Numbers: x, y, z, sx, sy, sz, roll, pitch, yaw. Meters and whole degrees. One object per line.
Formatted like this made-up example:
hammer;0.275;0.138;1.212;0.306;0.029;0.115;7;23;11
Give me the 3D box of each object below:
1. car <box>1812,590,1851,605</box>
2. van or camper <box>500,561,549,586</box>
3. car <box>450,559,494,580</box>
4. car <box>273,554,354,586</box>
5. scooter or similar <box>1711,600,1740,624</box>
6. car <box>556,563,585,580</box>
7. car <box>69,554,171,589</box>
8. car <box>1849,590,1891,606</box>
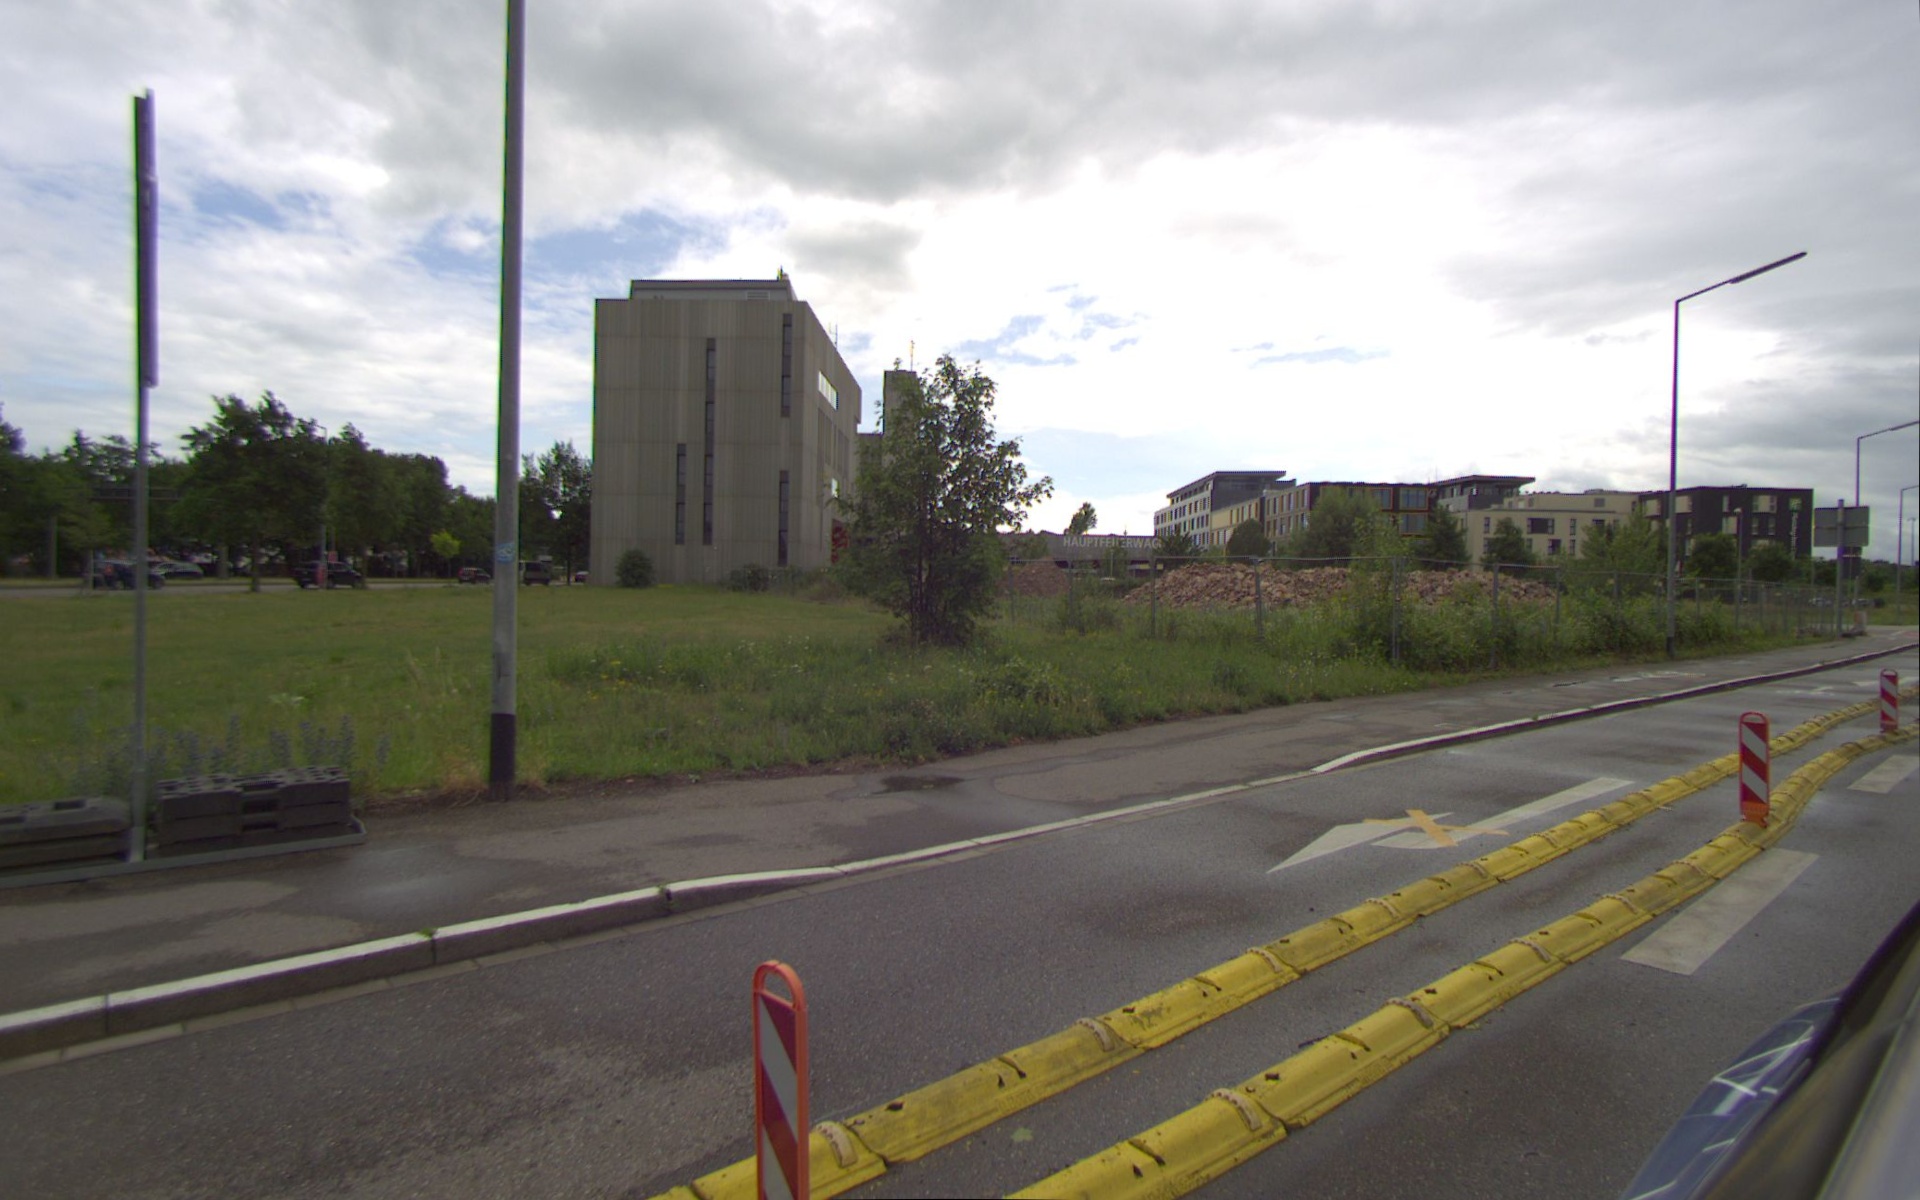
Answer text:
car;127.636;-0.433;148.275;3.925;2.039;2.000;1;1;1
van or camper;-39.708;-2.386;92.477;1.963;2.142;5.551;1;1;1
car;-44.804;-2.760;92.997;1.964;1.872;3.997;1;1;3
car;-43.086;-1.973;67.571;2.182;1.996;5.042;1;1;0
scooter or similar;39.352;0.600;52.049;0.437;1.200;1.327;1;1;0
car;-47.570;-3.455;123.685;1.963;2.039;3.998;1;1;2
car;-46.578;-1.577;56.262;2.041;1.836;4.204;1;1;4
car;126.676;-0.271;140.864;3.925;2.039;2.000;1;1;1
